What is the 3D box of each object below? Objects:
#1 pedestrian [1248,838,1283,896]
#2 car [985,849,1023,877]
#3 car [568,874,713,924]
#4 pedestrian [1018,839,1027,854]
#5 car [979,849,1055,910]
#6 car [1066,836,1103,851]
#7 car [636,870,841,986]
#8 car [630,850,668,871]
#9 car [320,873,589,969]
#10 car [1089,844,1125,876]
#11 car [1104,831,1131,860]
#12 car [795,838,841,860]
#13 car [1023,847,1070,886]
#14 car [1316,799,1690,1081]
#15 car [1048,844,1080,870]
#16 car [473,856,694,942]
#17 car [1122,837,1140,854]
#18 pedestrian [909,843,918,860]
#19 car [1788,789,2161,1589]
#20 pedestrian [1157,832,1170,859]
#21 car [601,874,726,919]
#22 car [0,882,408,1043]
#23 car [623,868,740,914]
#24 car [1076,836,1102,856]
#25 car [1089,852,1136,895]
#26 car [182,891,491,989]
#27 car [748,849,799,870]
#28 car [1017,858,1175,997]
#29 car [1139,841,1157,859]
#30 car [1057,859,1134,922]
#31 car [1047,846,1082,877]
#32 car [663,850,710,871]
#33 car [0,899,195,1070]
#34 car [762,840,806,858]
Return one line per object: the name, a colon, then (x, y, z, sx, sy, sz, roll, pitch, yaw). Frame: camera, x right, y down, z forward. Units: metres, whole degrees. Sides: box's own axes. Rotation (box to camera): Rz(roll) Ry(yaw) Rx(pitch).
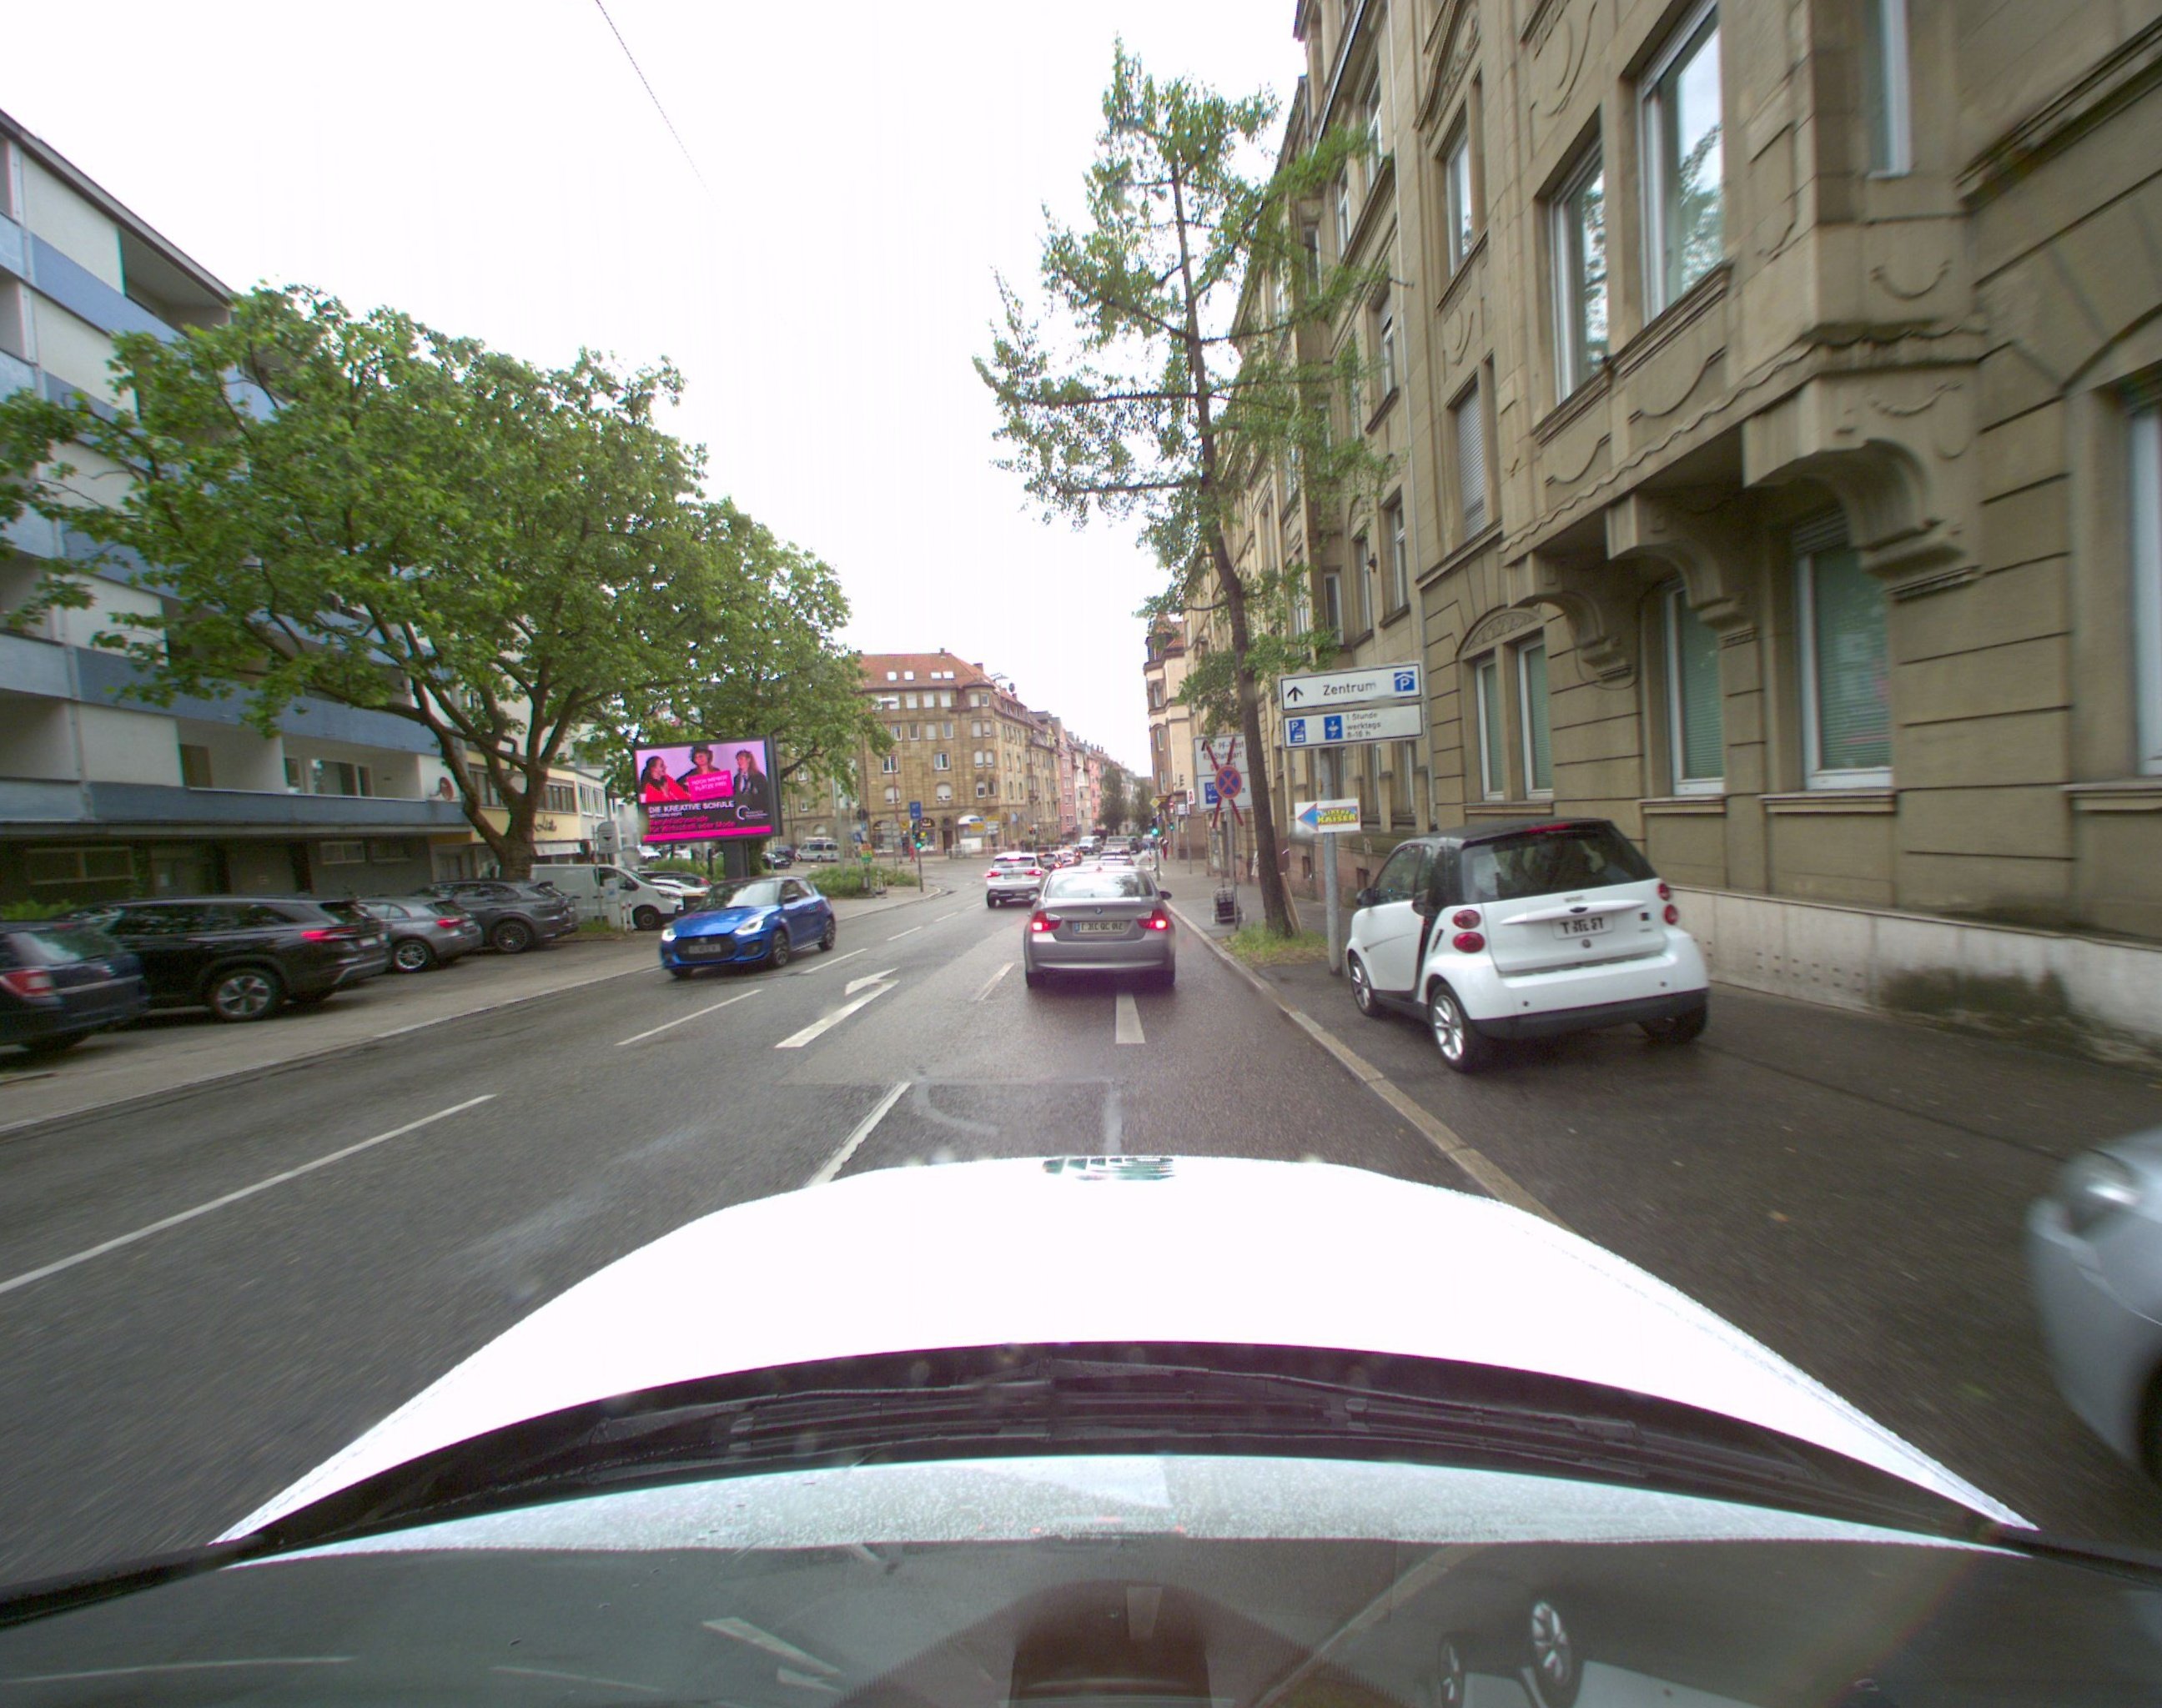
pedestrian: (5.049, 0.350, 22.312, 0.629, 1.508, 0.693, -7, 0, 1)
car: (-4.927, 0.559, 52.468, 1.731, 1.526, 4.473, -6, 0, 2)
car: (-15.376, 1.529, 28.699, 4.183, 1.456, 1.783, -2, 0, -19)
pedestrian: (-6.071, -0.800, 84.819, 0.727, 1.577, 0.530, -3, 0, 11)
car: (-1.963, 0.752, 26.136, 1.861, 1.625, 4.002, -4, 1, 2)
car: (0.509, -1.449, 113.981, 5.157, 2.014, 2.699, 0, -1, 1)
car: (-5.603, 1.127, 13.888, 1.709, 1.450, 3.743, -7, 0, 1)
car: (-42.928, 0.639, 80.916, 3.948, 2.013, 1.587, -2, 0, 34)
car: (-13.948, 1.417, 18.468, 4.369, 1.784, 1.927, -2, 0, -19)
car: (1.352, 0.290, 43.236, 1.754, 1.567, 4.000, -2, 0, 0)
car: (2.788, -0.584, 62.217, 1.986, 2.106, 4.002, -1, 0, 2)
car: (-26.274, -0.501, 81.218, 4.237, 2.101, 2.013, 0, 2, 30)
car: (-1.592, 0.547, 38.475, 1.752, 1.707, 4.004, -2, 0, 3)
car: (2.955, 0.512, 6.370, 1.294, 1.543, 2.977, -7, 0, 2)
car: (-1.119, 0.184, 55.423, 1.752, 1.707, 4.004, -2, 0, 3)
car: (-14.198, 1.227, 23.652, 5.075, 2.105, 1.980, -2, 0, -19)
car: (4.958, -0.815, 80.936, 1.717, 1.552, 4.004, 0, -1, 4)
pedestrian: (-15.717, -0.214, 76.339, 0.533, 1.577, 0.721, -3, 0, 9)
car: (2.781, 0.567, 0.164, 1.753, 1.451, 4.002, -7, 0, 2)
pedestrian: (5.927, -0.620, 58.522, 0.739, 1.910, 0.659, -3, 0, 1)
car: (-15.959, 1.577, 31.325, 3.984, 1.450, 1.758, -2, 0, -19)
car: (-12.246, 1.381, 11.025, 4.381, 1.672, 1.842, -4, 0, -21)
car: (-16.492, 1.490, 33.820, 4.138, 1.653, 1.757, -2, 0, -21)
car: (0.830, -0.796, 80.865, 1.751, 1.925, 4.335, -3, 0, 9)
car: (1.224, 0.668, 30.011, 1.588, 1.464, 4.004, -1, 0, 3)
car: (-13.875, 1.542, 15.507, 3.939, 1.430, 1.734, -2, 0, -23)
car: (-26.771, 0.512, 70.943, 4.194, 1.726, 2.013, -1, 2, 33)
car: (0.265, 0.782, 10.343, 1.616, 1.383, 3.618, -2, 0, 3)
car: (7.556, -0.417, 91.625, 1.715, 2.014, 4.009, 0, -1, 8)
car: (0.448, 0.863, 20.926, 1.752, 1.383, 4.004, -2, 0, 3)
car: (-0.955, 0.427, 48.780, 1.752, 1.707, 4.004, -2, 0, 3)
car: (-37.500, 0.618, 77.378, 4.195, 1.726, 2.013, -1, 2, 31)
car: (-12.540, 1.441, 8.219, 4.372, 1.574, 1.930, -4, 0, -21)
car: (-30.581, -0.543, 83.822, 4.237, 1.838, 2.013, 0, 2, 30)
